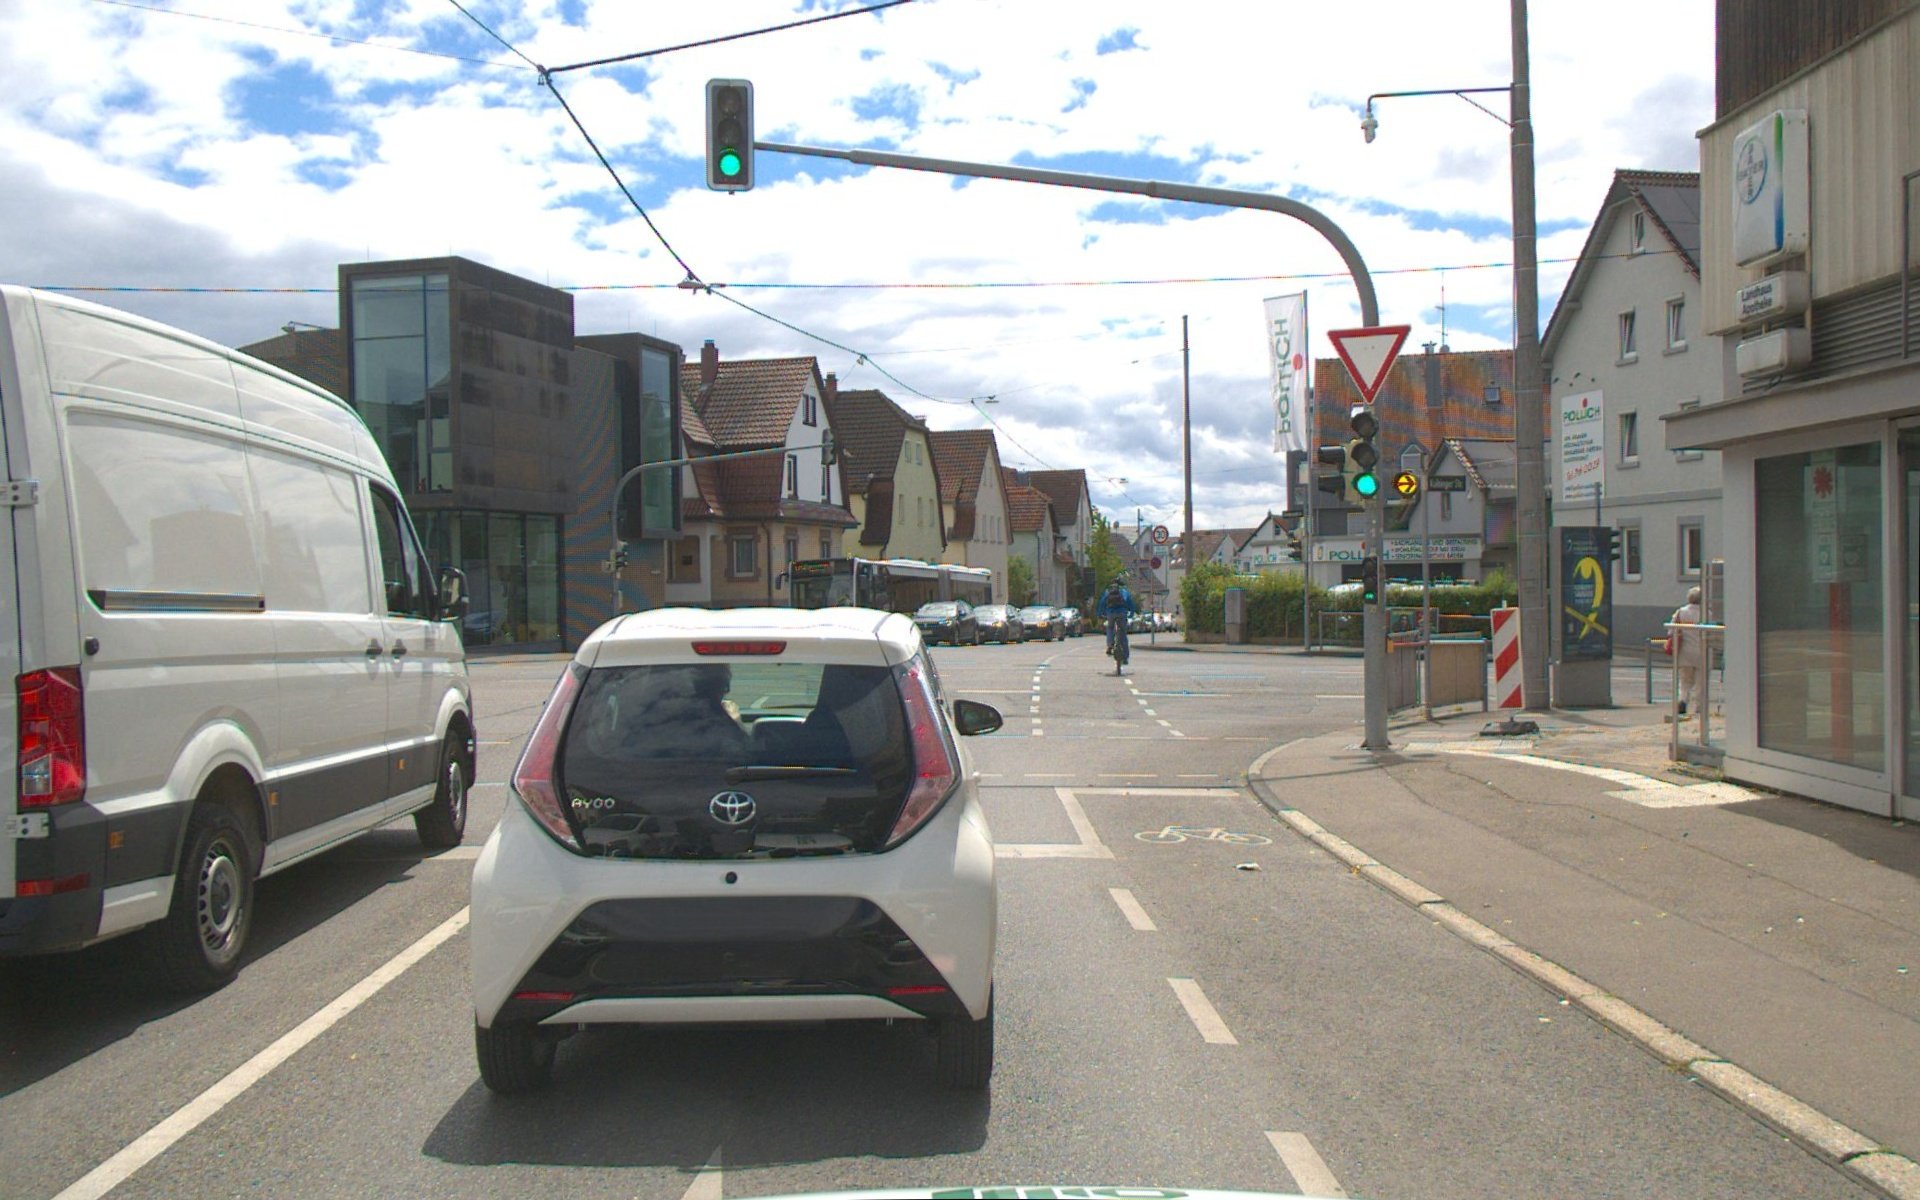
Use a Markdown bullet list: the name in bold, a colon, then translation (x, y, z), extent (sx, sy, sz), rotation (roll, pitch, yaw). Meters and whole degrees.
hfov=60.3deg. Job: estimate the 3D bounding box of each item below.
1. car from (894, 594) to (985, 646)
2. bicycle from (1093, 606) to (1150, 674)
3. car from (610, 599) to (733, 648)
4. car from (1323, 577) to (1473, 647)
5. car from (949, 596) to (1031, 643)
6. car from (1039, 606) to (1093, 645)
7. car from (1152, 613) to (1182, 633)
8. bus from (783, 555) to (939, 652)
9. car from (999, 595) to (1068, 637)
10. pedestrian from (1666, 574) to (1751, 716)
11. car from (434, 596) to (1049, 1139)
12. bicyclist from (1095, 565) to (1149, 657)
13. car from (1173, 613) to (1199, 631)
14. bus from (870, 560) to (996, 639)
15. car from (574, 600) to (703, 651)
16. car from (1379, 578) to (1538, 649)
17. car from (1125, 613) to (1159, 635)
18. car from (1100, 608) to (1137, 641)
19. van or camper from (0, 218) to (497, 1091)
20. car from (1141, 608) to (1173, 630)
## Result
- **car**: translation (-0.652, 0.639, 55.248), extent (1.951, 1.668, 4.002), rotation (0, 0, 16)
- **bicycle**: translation (2.979, 0.724, 30.738), extent (0.815, 1.184, 2.191), rotation (0, 0, -1)
- **car**: translation (-10.440, 0.840, 59.998), extent (3.902, 1.713, 2.002), rotation (0, 0, 13)
- **car**: translation (13.102, 0.355, 49.570), extent (3.913, 2.049, 1.996), rotation (0, 0, -9)
- **car**: translation (1.151, 0.680, 60.529), extent (1.951, 1.668, 4.186), rotation (0, 0, 16)
- **car**: translation (5.811, 1.345, 90.474), extent (1.952, 2.049, 4.001), rotation (0, 0, 19)
- **car**: translation (17.753, 1.973, 141.494), extent (1.951, 1.668, 4.002), rotation (0, 0, 16)
- **bus**: translation (-3.279, 0.076, 57.923), extent (2.719, 3.113, 9.198), rotation (0, 0, 15)
- **car**: translation (3.095, 0.632, 68.791), extent (1.951, 1.668, 4.002), rotation (0, 0, 16)
- **pedestrian**: translation (9.050, 0.528, 20.027), extent (0.816, 1.666, 0.874), rotation (0, 0, 16)
- **car**: translation (-0.691, 0.737, 6.404), extent (1.703, 1.486, 3.530), rotation (0, 0, -3)
- **bicyclist**: translation (3.003, 0.194, 30.728), extent (0.823, 1.642, 1.083), rotation (2, 0, -1)
- **car**: translation (22.287, 2.154, 162.690), extent (1.951, 1.668, 4.002), rotation (0, 0, 16)
- **bus**: translation (-0.939, -0.048, 66.926), extent (2.719, 2.965, 9.198), rotation (0, 0, 15)
- **car**: translation (-11.087, 0.865, 57.176), extent (3.902, 1.668, 2.002), rotation (1, 0, 13)
- **car**: translation (14.211, 0.386, 47.242), extent (3.914, 1.982, 1.995), rotation (0, 0, -10)
- **car**: translation (14.340, 1.858, 130.184), extent (1.951, 1.668, 4.002), rotation (0, 0, 16)
- **car**: translation (10.301, 1.584, 107.236), extent (1.951, 2.049, 4.003), rotation (0, 0, 12)
- **van or camper**: translation (-3.884, 0.175, 7.754), extent (2.065, 2.632, 5.641), rotation (-2, 0, -3)
- **car**: translation (16.224, 1.545, 135.931), extent (1.951, 1.668, 4.002), rotation (0, 0, 16)
